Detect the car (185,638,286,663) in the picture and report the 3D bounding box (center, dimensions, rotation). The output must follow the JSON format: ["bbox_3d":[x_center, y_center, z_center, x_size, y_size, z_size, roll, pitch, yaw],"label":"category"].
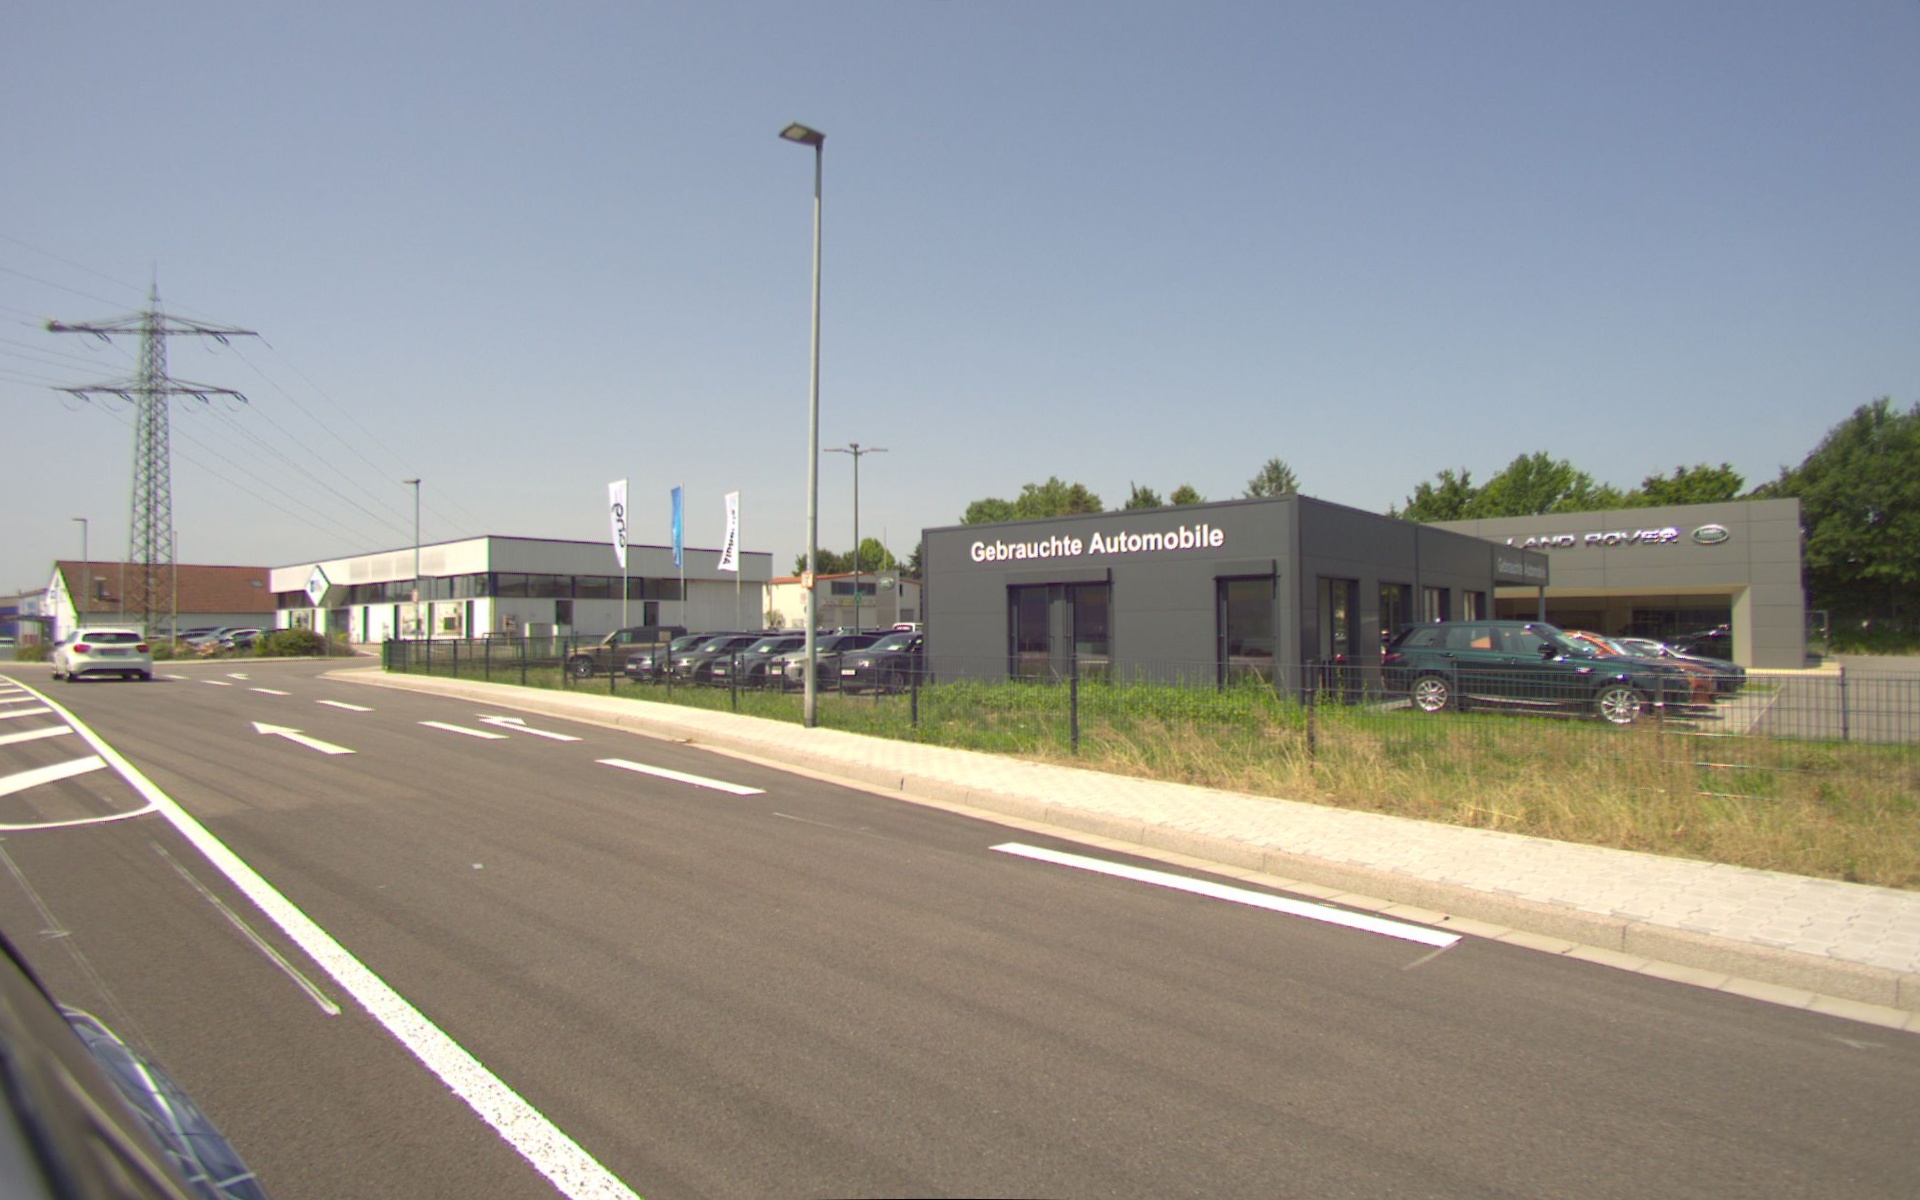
[{"bbox_3d":[-39.865,2.769,55.770,1.831,1.325,4.184,-3,-4,37],"label":"car"}]

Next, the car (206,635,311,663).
[{"bbox_3d":[-36.783,2.581,53.175,1.831,1.405,4.184,-3,-4,37],"label":"car"}]

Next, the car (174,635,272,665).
[{"bbox_3d":[-42.228,2.857,58.046,1.831,1.660,4.184,-3,-4,37],"label":"car"}]

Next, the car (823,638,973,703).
[{"bbox_3d":[-1.634,1.875,27.811,1.821,1.644,4.107,-3,-4,39],"label":"car"}]

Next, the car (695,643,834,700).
[{"bbox_3d":[-6.068,2.198,31.749,1.975,1.644,3.947,-3,-4,39],"label":"car"}]

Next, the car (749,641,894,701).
[{"bbox_3d":[-4.041,2.059,29.973,1.967,1.644,3.945,-3,-4,41],"label":"car"}]

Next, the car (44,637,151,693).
[{"bbox_3d":[-23.603,1.722,27.659,4.050,1.426,1.761,-2,-3,43],"label":"car"}]

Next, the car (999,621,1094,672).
[{"bbox_3d":[3.283,1.732,38.069,1.684,1.842,3.799,-3,-3,39],"label":"car"}]

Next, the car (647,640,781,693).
[{"bbox_3d":[-8.097,2.161,33.560,1.975,1.644,3.947,-3,-4,39],"label":"car"}]

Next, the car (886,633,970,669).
[{"bbox_3d":[-1.592,2.567,51.483,1.965,1.747,4.261,-3,-3,39],"label":"car"}]

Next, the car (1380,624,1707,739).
[{"bbox_3d":[10.184,1.318,17.885,4.748,1.752,1.934,-1,-2,40],"label":"car"}]

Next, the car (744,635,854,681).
[{"bbox_3d":[-6.223,2.245,39.476,1.975,1.677,3.947,-3,-4,39],"label":"car"}]

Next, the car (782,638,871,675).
[{"bbox_3d":[-6.312,2.669,48.052,1.975,1.677,3.947,-3,-4,39],"label":"car"}]

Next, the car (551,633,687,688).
[{"bbox_3d":[-12.695,2.233,37.969,4.602,1.879,2.071,0,-1,-11],"label":"car"}]

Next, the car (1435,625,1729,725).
[{"bbox_3d":[12.232,1.387,20.098,4.748,1.752,1.934,-1,-2,40],"label":"car"}]

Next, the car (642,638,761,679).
[{"bbox_3d":[-10.447,2.347,41.188,4.439,1.574,1.929,0,-1,-6],"label":"car"}]

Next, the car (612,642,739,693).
[{"bbox_3d":[-9.934,2.328,35.521,1.885,1.644,3.947,-3,-4,39],"label":"car"}]
